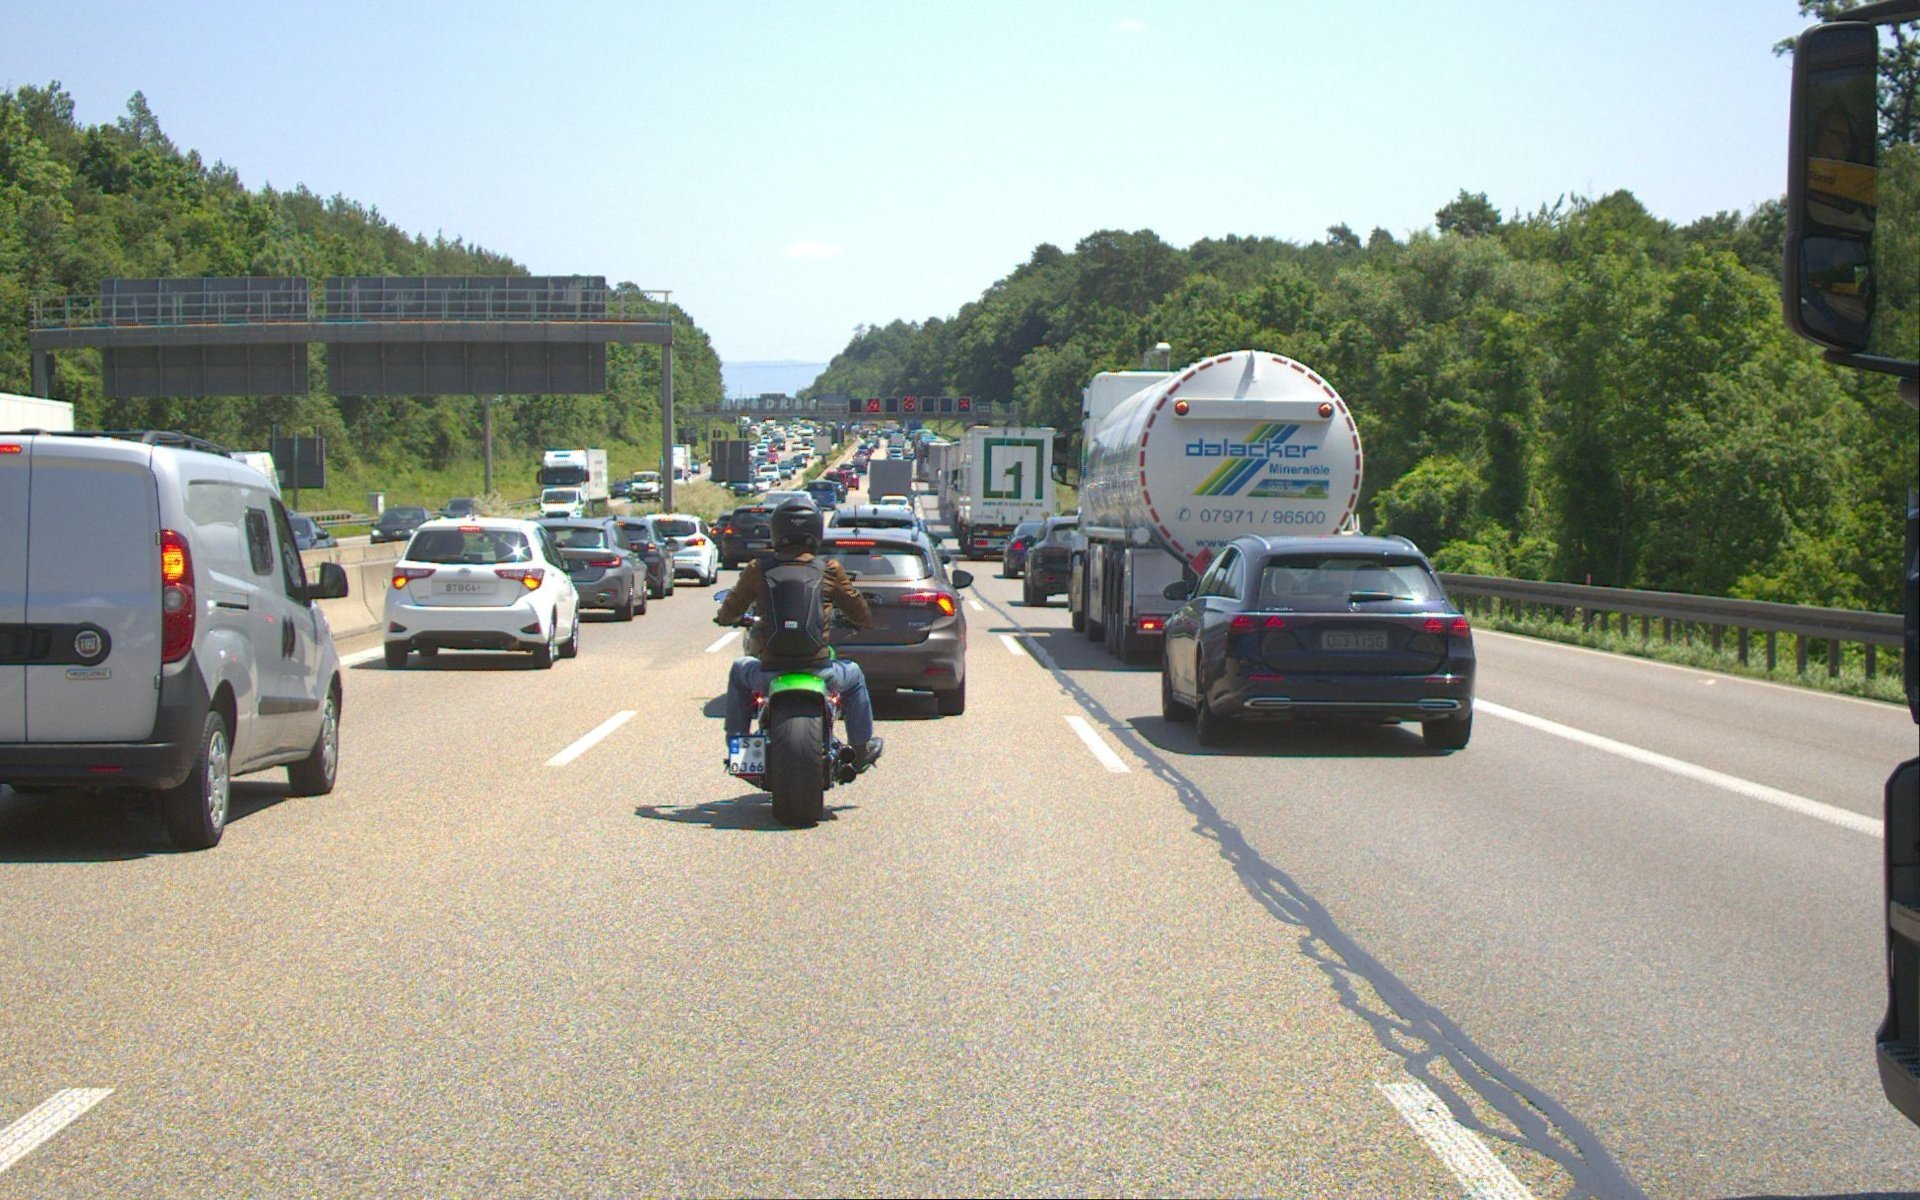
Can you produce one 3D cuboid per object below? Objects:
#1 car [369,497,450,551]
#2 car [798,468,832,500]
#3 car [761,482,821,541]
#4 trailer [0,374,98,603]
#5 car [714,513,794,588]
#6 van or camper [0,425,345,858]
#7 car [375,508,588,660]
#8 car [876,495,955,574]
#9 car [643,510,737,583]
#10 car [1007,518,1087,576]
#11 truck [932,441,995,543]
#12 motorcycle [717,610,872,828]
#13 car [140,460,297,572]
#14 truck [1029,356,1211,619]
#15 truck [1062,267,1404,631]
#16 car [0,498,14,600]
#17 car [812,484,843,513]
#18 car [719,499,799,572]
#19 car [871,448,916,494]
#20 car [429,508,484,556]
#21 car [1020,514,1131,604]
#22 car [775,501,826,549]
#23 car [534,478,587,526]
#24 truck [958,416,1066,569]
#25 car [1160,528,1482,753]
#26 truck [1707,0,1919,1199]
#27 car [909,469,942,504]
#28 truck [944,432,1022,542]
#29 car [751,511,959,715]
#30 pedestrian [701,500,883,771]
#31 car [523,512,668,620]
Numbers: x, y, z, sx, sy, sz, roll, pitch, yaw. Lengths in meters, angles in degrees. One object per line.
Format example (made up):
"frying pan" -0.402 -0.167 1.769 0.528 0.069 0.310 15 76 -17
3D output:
"car" -16.624 -2.300 103.978 1.880 1.588 4.000 0 1 -1
"car" -9.060 -7.256 215.142 1.993 2.007 4.000 0 1 -1
"car" -6.154 -3.211 125.443 1.929 2.007 4.000 -2 1 0
"trailer" -20.679 -2.129 68.402 3.724 4.512 13.332 -2 1 -1
"car" -5.814 -1.389 97.447 1.993 2.007 4.000 -2 1 0
"van or camper" -4.283 0.161 17.065 1.796 1.886 4.160 0 1 -1
"car" -4.891 -0.206 35.617 1.699 1.473 4.000 0 1 -1
"car" -1.181 -1.730 91.803 1.993 2.007 4.000 -2 1 -1
"car" -5.591 -1.137 71.598 1.699 1.473 4.000 0 1 -1
"car" 2.120 -1.329 84.711 1.787 1.370 3.804 0 1 -1
"truck" 0.140 -5.602 178.884 3.033 5.121 9.983 1 1 -1
"motorcycle" -0.840 0.587 17.919 0.691 1.012 2.121 0 1 0
"car" -16.451 -1.882 76.665 1.993 2.369 7.365 0 1 -1
"truck" 2.236 -1.557 49.347 1.993 3.510 4.752 -2 1 -3
"truck" 2.979 -1.616 40.392 2.988 3.659 9.288 -2 1 -1
"car" -15.914 -0.759 52.508 1.686 1.602 4.514 -2 1 -1
"car" -9.105 -6.991 236.574 1.993 2.007 4.000 0 1 -1
"car" -5.164 -1.676 88.694 1.880 1.853 4.000 0 1 -1
"car" -3.777 -7.354 196.277 2.504 2.578 5.017 0 1 -1
"car" -22.300 -3.012 152.479 1.827 2.007 3.880 -2 1 -1
"car" 2.039 -0.761 61.638 1.787 1.550 3.804 0 1 -1
"car" -6.976 -3.275 150.826 1.993 2.007 4.000 -2 1 -1
"car" -18.392 -4.515 158.439 1.880 2.007 4.468 -3 1 -1
"truck" 1.548 -3.345 107.984 3.033 4.527 9.983 1 1 -1
"car" 2.510 0.226 24.791 1.828 1.465 4.000 0 1 -1
"truck" 3.224 -0.418 3.170 2.688 3.863 9.781 -3 1 -1
"car" -2.156 -7.111 215.078 1.993 2.007 4.000 -2 1 -1
"truck" 0.936 -4.836 147.890 3.033 4.527 9.983 1 1 -1
"car" -0.860 0.060 28.317 1.532 1.504 4.000 -2 1 -2
"pedestrian" -0.870 0.172 18.062 0.849 1.357 0.961 -2 1 0
"car" -5.169 -0.514 49.152 1.699 1.473 4.000 0 1 -1
